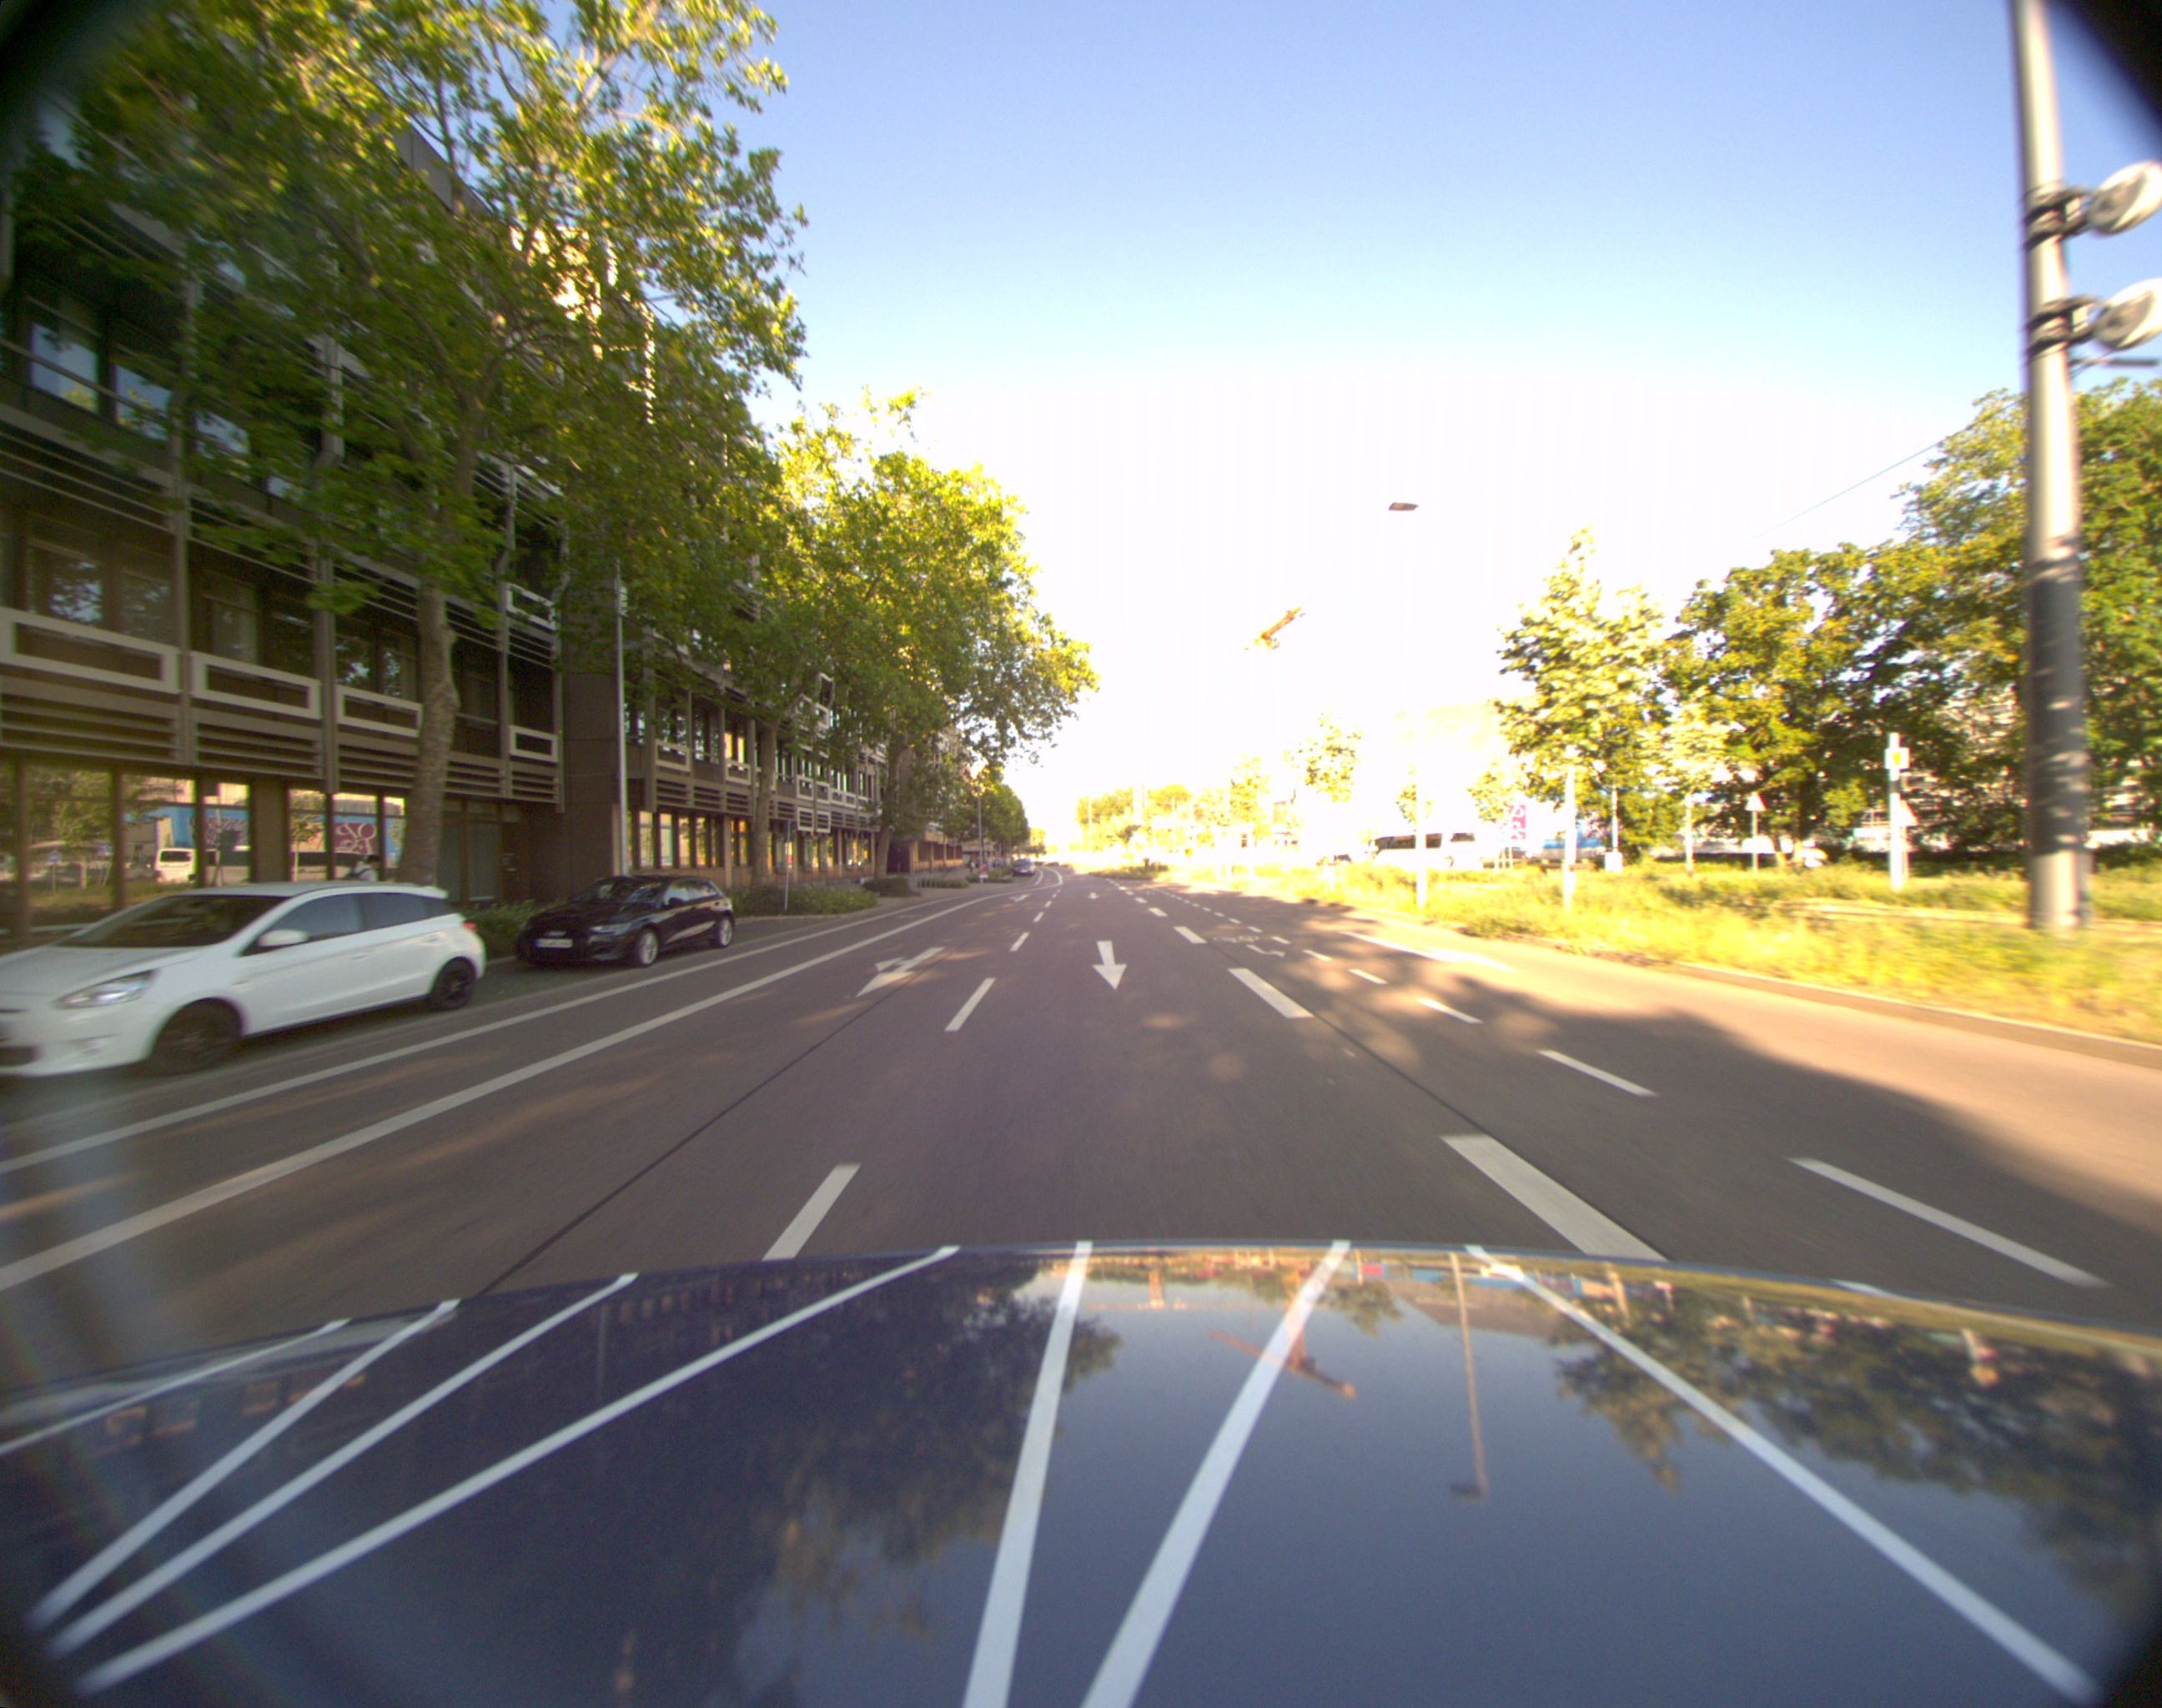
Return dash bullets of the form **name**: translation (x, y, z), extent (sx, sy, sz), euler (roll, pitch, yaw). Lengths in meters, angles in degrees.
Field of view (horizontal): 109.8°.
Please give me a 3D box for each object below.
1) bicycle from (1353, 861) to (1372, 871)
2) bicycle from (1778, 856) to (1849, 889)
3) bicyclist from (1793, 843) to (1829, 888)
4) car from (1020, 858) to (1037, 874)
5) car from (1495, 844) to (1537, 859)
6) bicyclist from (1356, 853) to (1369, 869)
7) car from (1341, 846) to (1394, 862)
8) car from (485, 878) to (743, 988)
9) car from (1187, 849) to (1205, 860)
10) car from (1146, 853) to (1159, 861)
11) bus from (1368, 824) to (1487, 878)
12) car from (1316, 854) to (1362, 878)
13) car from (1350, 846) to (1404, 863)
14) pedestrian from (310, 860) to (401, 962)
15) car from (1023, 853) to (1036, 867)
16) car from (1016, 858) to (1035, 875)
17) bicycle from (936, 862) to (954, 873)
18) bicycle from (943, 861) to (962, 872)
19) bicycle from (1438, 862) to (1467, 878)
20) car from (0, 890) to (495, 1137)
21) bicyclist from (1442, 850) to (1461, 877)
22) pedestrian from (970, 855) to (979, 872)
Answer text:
- **bicycle**: translation (23.263, 1.017, 62.876), extent (0.689, 0.799, 2.144), euler (-1, 0, -2)
- **bicycle**: translation (24.520, 0.600, 25.483), extent (0.560, 1.053, 1.898), euler (-1, 0, 0)
- **bicyclist**: translation (24.509, 0.380, 25.527), extent (0.558, 1.498, 0.668), euler (-1, 0, 0)
- **car**: translation (-5.512, 1.272, 80.617), extent (1.733, 1.612, 4.215), euler (1, 0, -3)
- **car**: translation (51.677, -0.268, 90.302), extent (1.414, 1.626, 4.215), euler (-1, 0, -27)
- **bicyclist**: translation (23.255, 0.564, 62.808), extent (0.689, 1.338, 0.871), euler (-1, 0, -2)
- **car**: translation (33.118, -0.012, 87.875), extent (5.241, 1.707, 2.124), euler (-1, 0, -3)
- **car**: translation (-7.600, 1.199, 12.962), extent (1.710, 1.410, 4.276), euler (1, 0, 1)
- **car**: translation (18.004, 0.143, 119.519), extent (1.999, 1.633, 4.166), euler (-1, 0, -2)
- **car**: translation (14.164, 0.591, 150.719), extent (1.999, 1.641, 4.269), euler (-1, 0, -3)
- **bus**: translation (25.859, -0.213, 57.708), extent (2.806, 3.574, 12.695), euler (-1, 0, -2)
- **car**: translation (20.219, 0.907, 59.719), extent (1.875, 1.755, 4.812), euler (-1, 0, -1)
- **car**: translation (33.138, 0.043, 85.095), extent (5.241, 1.707, 2.124), euler (-1, 0, -3)
- **pedestrian**: translation (-13.540, 1.037, 14.204), extent (0.833, 1.845, 0.847), euler (-1, 0, -1)
- **car**: translation (-7.235, 0.877, 106.950), extent (1.740, 1.908, 4.391), euler (1, 0, -5)
- **car**: translation (-5.399, 1.199, 74.451), extent (1.733, 1.678, 4.513), euler (1, 0, -3)
- **bicycle**: translation (-13.078, 1.297, 73.151), extent (1.631, 1.076, 0.392), euler (0, 1, 0)
- **bicycle**: translation (-12.757, 1.284, 75.507), extent (1.905, 1.086, 0.392), euler (0, 0, -8)
- **bicycle**: translation (23.807, 1.001, 48.696), extent (0.689, 0.997, 2.361), euler (-1, 0, 0)
- **car**: translation (-7.835, 1.176, 7.099), extent (1.686, 1.469, 3.874), euler (1, 0, 1)
- **bicyclist**: translation (23.812, 0.593, 48.858), extent (0.689, 1.698, 0.954), euler (-1, 0, 0)
- **pedestrian**: translation (-10.372, 0.918, 73.980), extent (0.791, 1.639, 1.136), euler (0, 0, -2)
